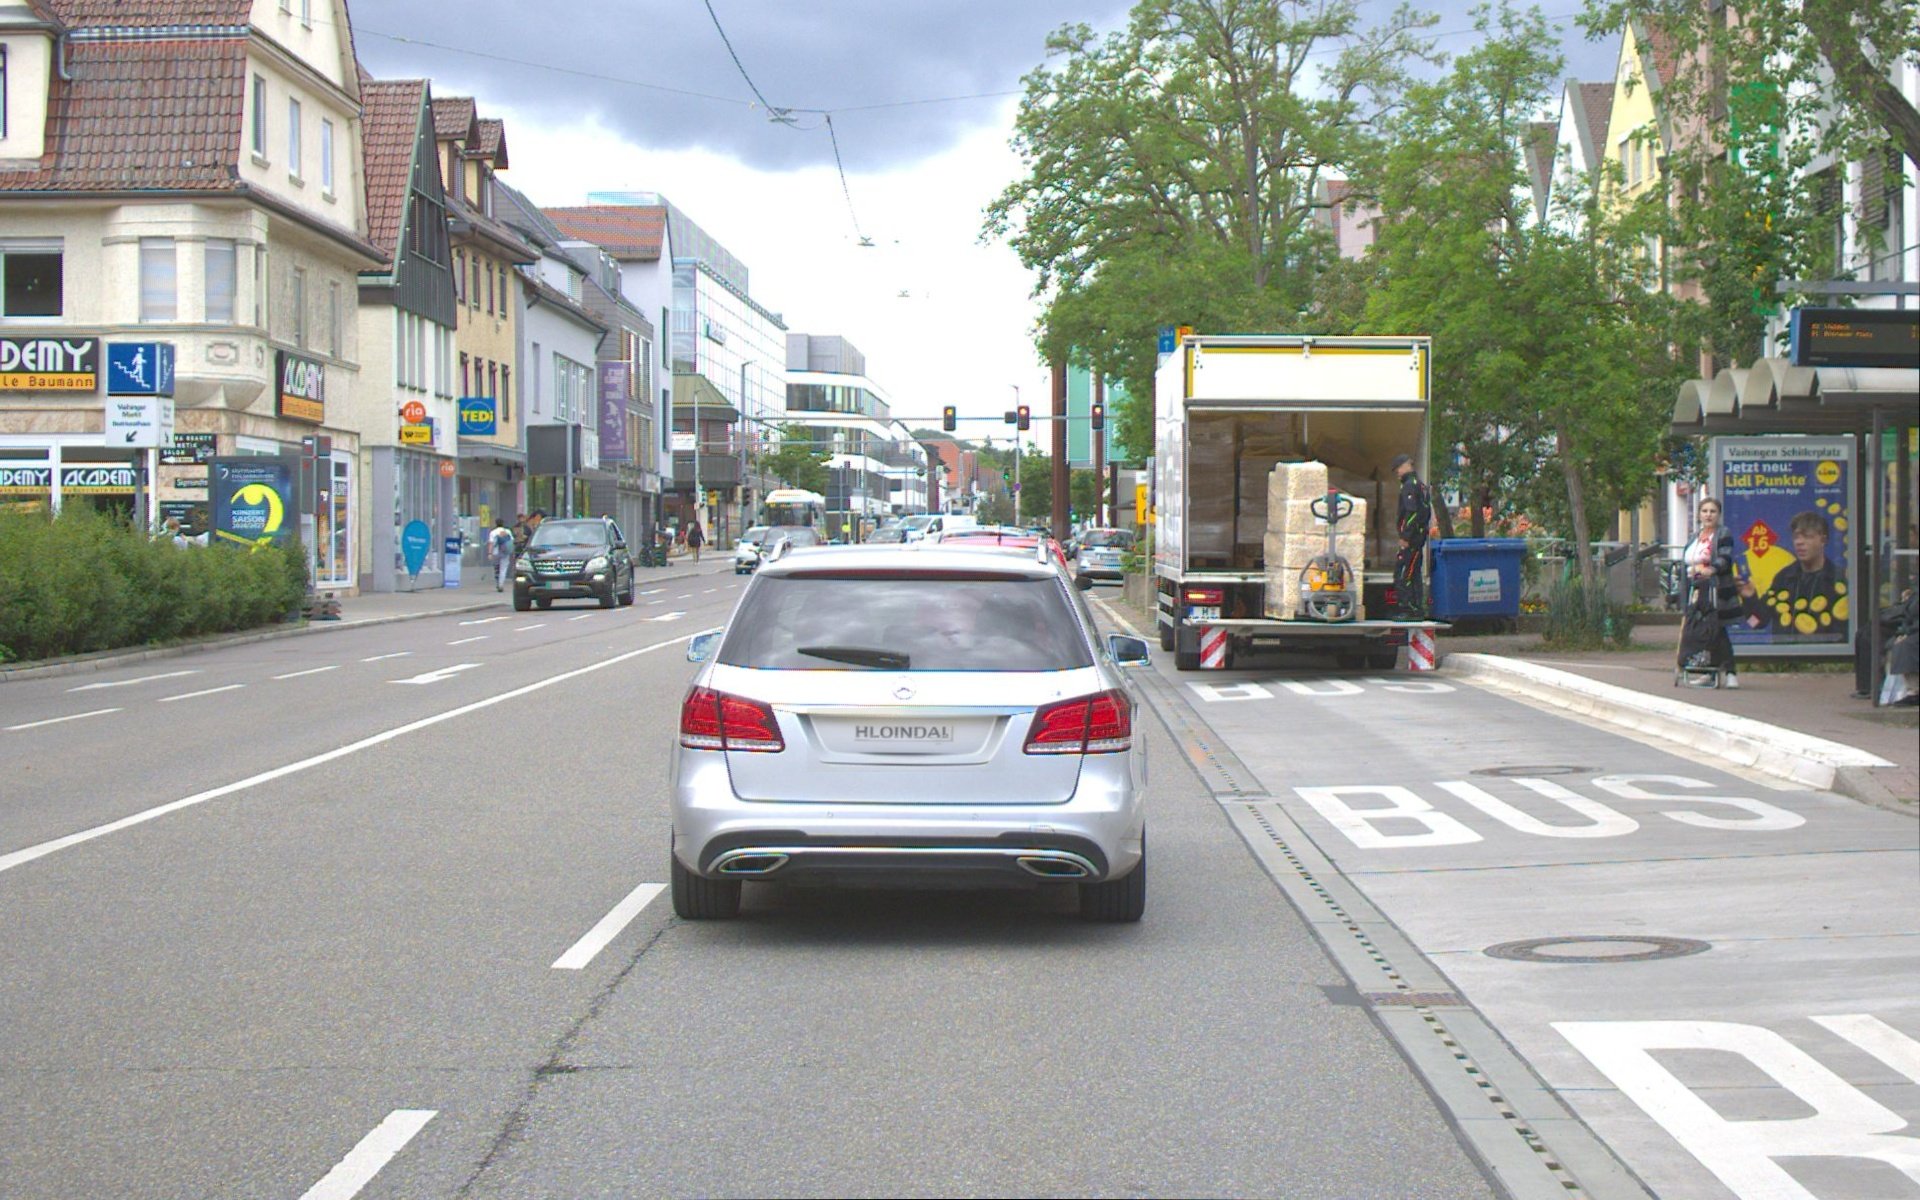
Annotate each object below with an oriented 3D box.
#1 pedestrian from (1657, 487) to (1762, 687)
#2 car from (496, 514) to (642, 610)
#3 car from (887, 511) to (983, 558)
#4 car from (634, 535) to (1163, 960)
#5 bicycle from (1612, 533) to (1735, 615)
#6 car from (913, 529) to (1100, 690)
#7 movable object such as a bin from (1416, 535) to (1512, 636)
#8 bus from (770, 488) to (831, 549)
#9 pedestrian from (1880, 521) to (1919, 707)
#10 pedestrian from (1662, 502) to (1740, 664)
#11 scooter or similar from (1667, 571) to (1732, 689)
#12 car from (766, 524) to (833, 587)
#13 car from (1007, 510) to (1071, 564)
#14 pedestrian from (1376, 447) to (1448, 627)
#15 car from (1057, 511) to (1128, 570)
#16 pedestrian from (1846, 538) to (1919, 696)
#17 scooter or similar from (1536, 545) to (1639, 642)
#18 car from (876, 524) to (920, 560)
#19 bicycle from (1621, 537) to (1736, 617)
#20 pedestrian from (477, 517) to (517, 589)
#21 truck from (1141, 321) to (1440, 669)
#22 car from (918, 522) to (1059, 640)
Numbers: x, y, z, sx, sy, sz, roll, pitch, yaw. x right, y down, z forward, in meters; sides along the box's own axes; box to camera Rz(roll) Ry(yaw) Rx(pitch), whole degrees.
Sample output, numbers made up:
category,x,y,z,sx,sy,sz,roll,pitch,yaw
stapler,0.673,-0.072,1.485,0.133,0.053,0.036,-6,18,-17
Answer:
category,x,y,z,sx,sy,sz,roll,pitch,yaw
pedestrian,6.251,-0.112,28.682,0.534,1.629,0.588,2,2,-23
car,-7.532,-0.771,66.671,2.069,1.732,4.693,-2,1,2
car,-1.079,-2.893,151.807,1.964,1.954,5.132,-1,1,28
car,-0.244,0.490,14.268,1.874,1.501,4.000,0,1,-1
bicycle,11.590,-0.426,55.879,1.816,1.322,0.843,0,1,-2
car,0.480,0.062,34.470,1.754,1.515,4.000,0,1,1
movable object such as a bin,6.770,-0.205,46.226,1.143,1.335,1.376,0,1,3
bus,-8.367,-4.304,181.204,2.775,3.154,5.933,0,1,2
pedestrian,7.314,0.096,26.062,0.613,1.396,0.587,-2,0,14
pedestrian,8.158,-0.195,37.860,0.613,1.734,0.588,3,2,-2
scooter or similar,6.094,0.243,28.327,0.384,0.955,0.355,-2,1,-40
car,-4.001,-1.128,86.056,1.570,1.535,2.961,1,1,-1
car,2.486,-1.989,107.951,1.993,1.678,4.000,0,1,2
pedestrian,4.520,-0.624,34.395,0.613,1.774,0.588,-1,0,-2
car,3.799,-1.733,99.269,1.993,1.678,4.000,0,1,2
pedestrian,7.455,0.129,27.365,0.700,1.228,0.588,-2,1,11
scooter or similar,7.852,-0.080,43.015,1.175,1.192,0.460,-1,1,-8
car,-2.561,-2.409,142.684,1.617,1.423,3.922,-1,1,2
bicycle,11.484,-0.370,54.986,1.674,1.254,0.670,0,1,-2
pedestrian,-10.717,-1.090,79.656,0.816,1.629,0.980,2,1,-4
truck,3.635,-1.192,40.003,2.688,3.549,9.767,0,1,1
car,0.459,-0.313,50.697,1.993,1.678,4.000,0,1,2
